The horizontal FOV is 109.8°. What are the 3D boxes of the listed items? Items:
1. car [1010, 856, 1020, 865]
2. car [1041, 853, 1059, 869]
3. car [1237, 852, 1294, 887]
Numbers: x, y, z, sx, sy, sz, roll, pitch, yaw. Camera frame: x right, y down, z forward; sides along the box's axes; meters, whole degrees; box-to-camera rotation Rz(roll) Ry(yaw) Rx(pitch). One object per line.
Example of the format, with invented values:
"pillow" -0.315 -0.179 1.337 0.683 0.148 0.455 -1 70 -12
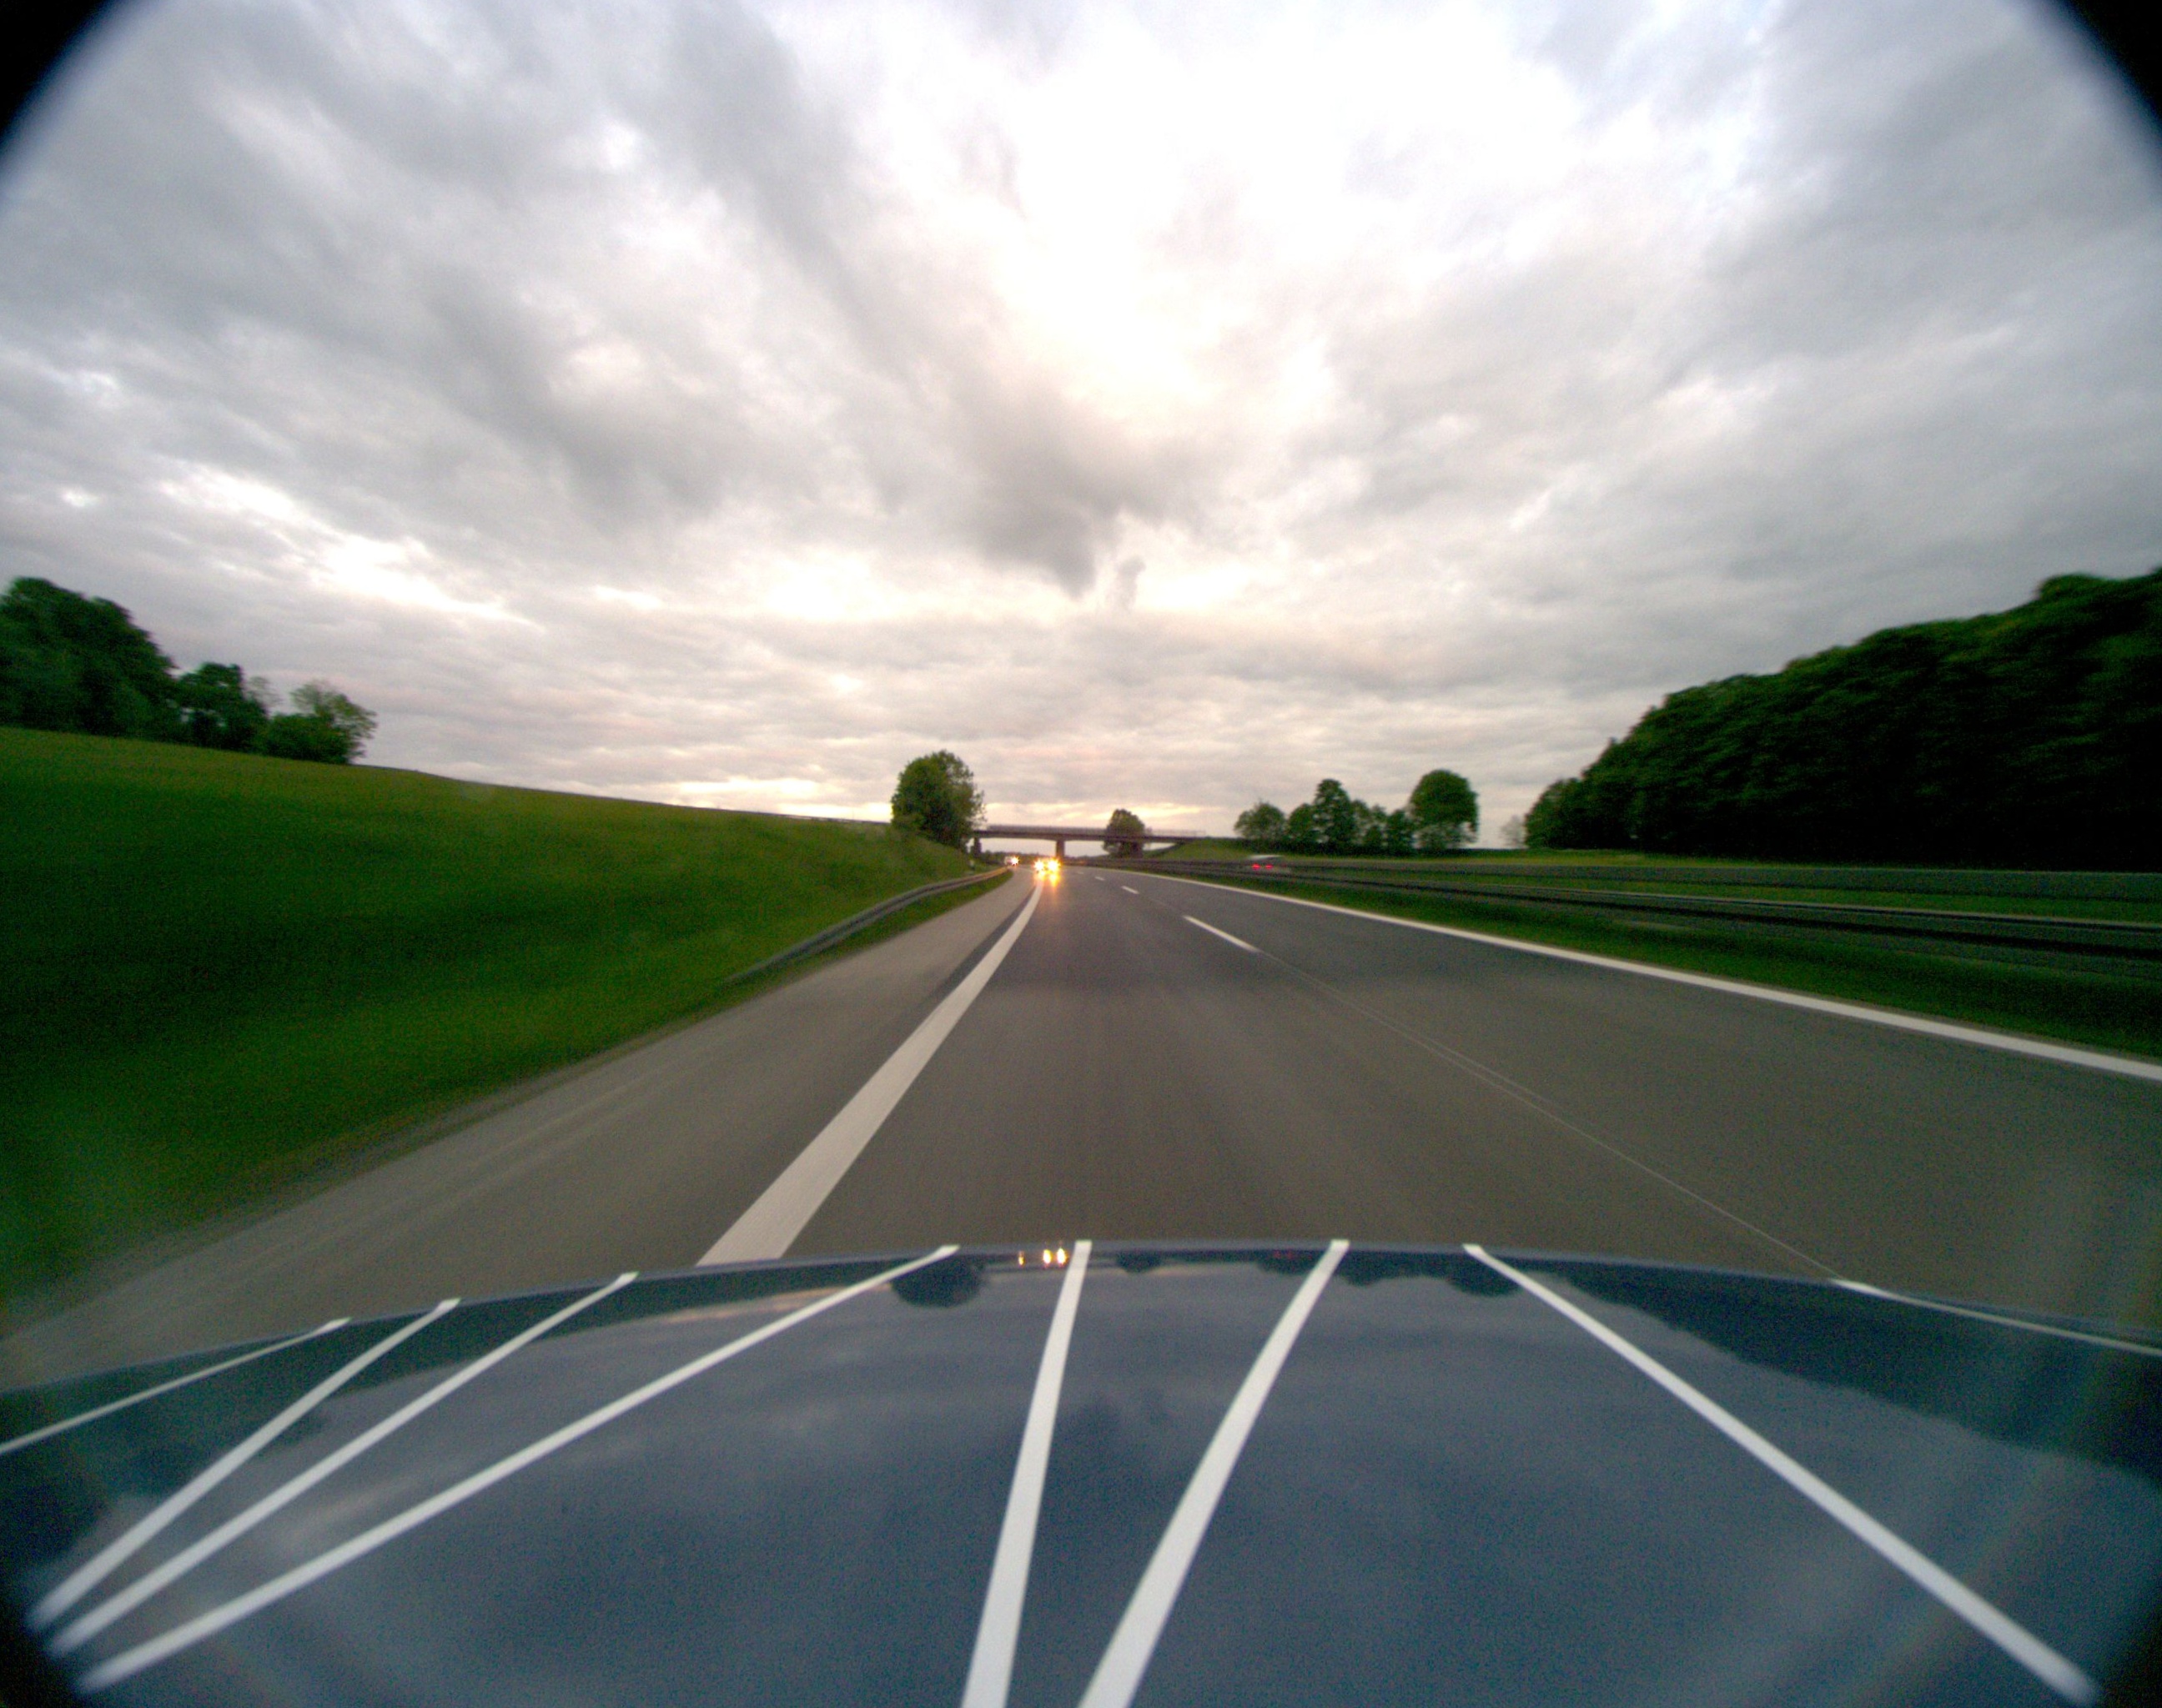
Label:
"car" -13.863 1.365 159.141 1.921 1.826 3.997 0 -1 -9
"car" -3.137 0.705 75.429 1.682 1.504 3.998 0 0 -4
"car" 11.134 0.900 46.263 1.999 2.002 5.167 0 1 -3
